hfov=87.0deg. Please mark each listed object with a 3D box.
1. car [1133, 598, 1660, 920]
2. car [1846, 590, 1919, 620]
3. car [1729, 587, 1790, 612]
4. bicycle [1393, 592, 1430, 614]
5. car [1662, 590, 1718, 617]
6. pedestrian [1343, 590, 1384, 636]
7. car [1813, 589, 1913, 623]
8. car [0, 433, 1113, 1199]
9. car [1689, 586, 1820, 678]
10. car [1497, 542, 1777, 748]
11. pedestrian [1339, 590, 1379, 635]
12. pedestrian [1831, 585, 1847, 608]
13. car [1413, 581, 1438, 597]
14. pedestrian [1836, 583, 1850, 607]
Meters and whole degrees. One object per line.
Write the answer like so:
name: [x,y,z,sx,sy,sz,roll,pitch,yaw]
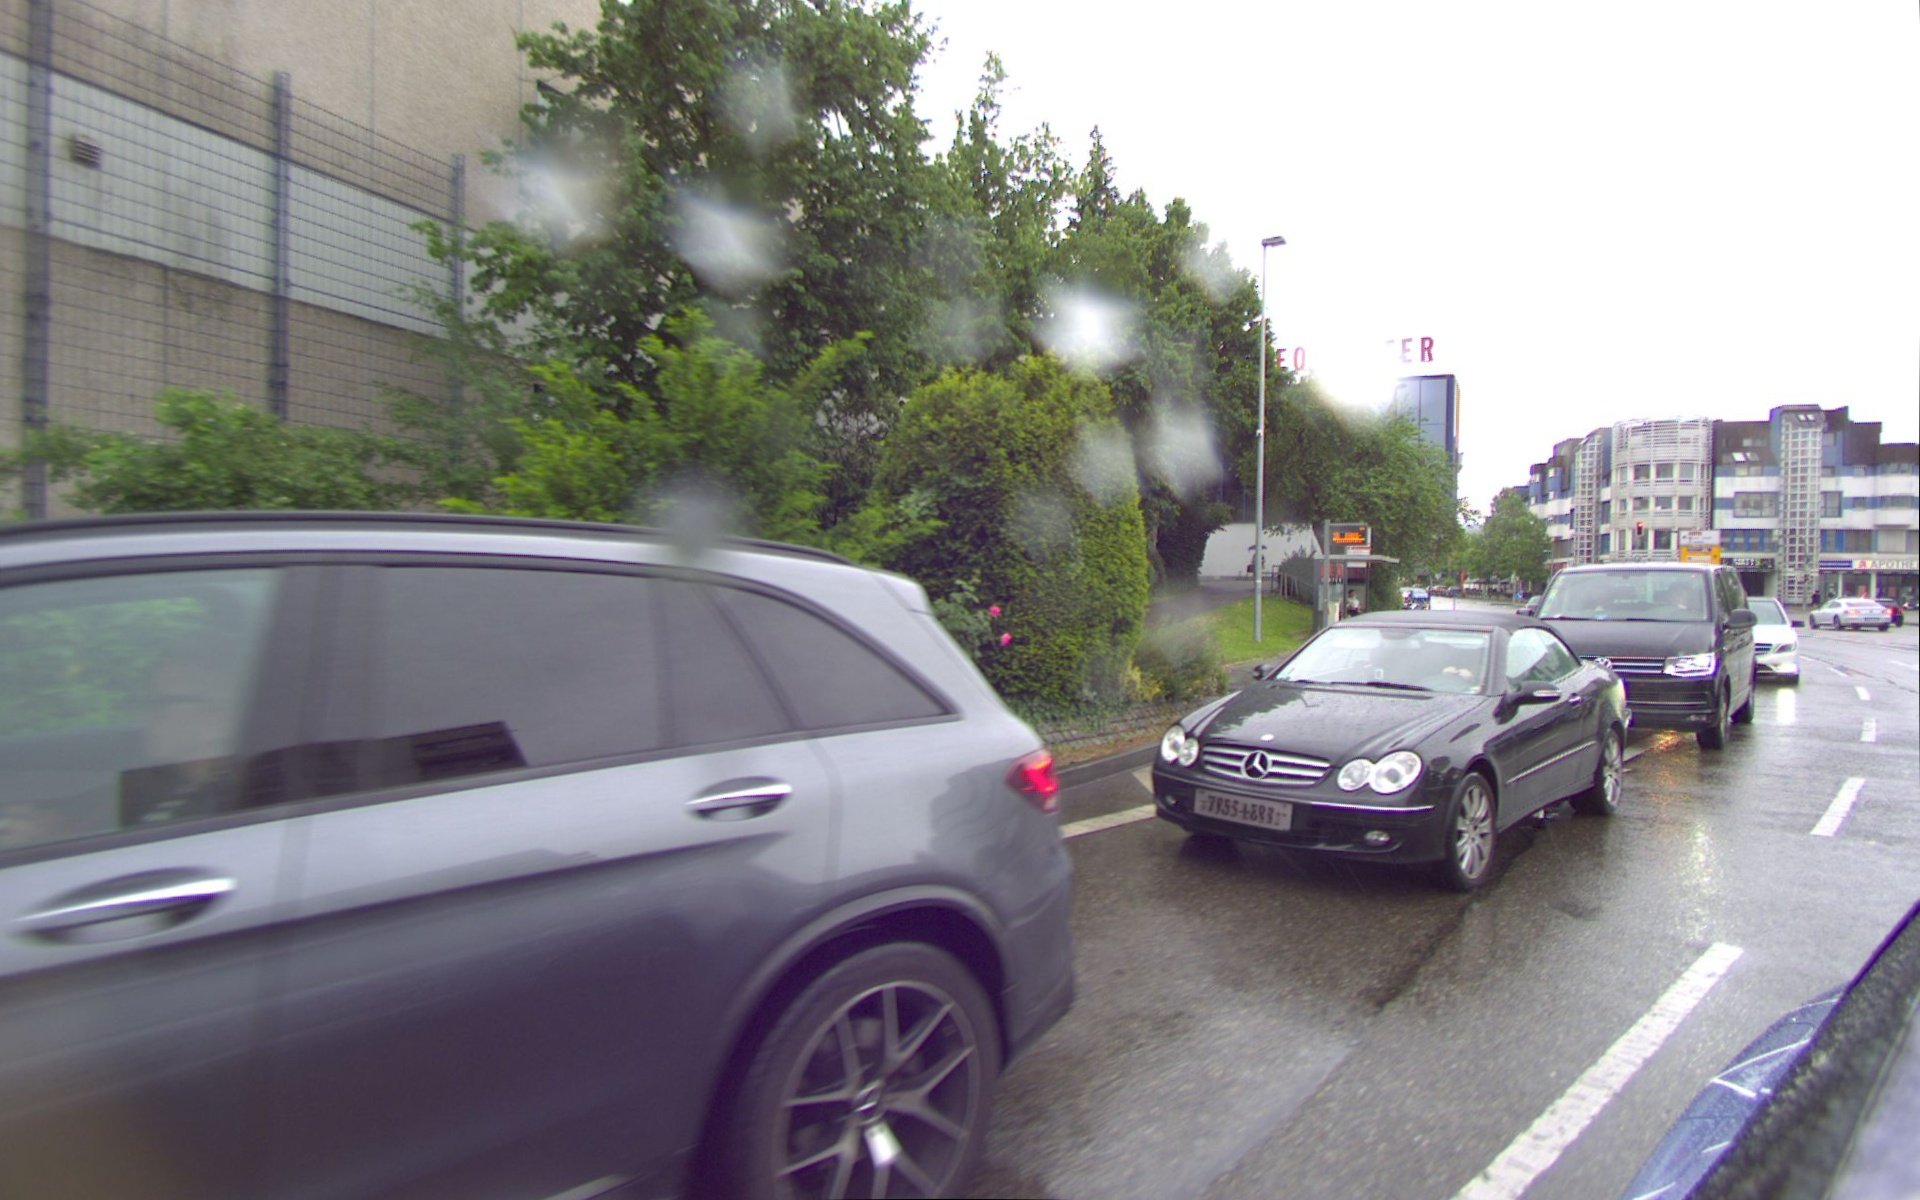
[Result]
car: [3.123,0.705,6.660,4.440,1.403,1.633,0,1,-44]
car: [46.605,0.253,51.160,1.745,1.445,3.963,1,0,26]
car: [50.003,-0.070,63.359,1.683,1.484,4.079,2,1,19]
bicycle: [25.102,0.152,56.299,1.819,1.124,0.688,3,2,28]
car: [42.558,0.197,59.056,1.743,1.469,3.970,1,0,22]
pedestrian: [12.025,0.375,30.172,1.023,1.297,0.685,3,2,27]
car: [41.373,0.238,46.488,1.826,1.479,4.775,0,1,21]
car: [-1.812,0.602,1.993,4.260,1.641,1.904,0,1,-41]
car: [15.357,0.528,19.478,1.756,1.569,4.262,1,1,41]
car: [7.988,0.375,11.739,1.995,1.918,4.516,0,1,43]
pedestrian: [12.195,0.365,30.915,1.023,1.297,0.685,3,2,27]
pedestrian: [66.050,-0.257,76.007,0.833,1.765,0.578,0,0,35]
car: [48.381,-1.152,105.240,1.877,1.545,3.976,1,1,18]
pedestrian: [67.088,-0.391,76.857,0.574,1.765,0.683,-1,0,-35]
